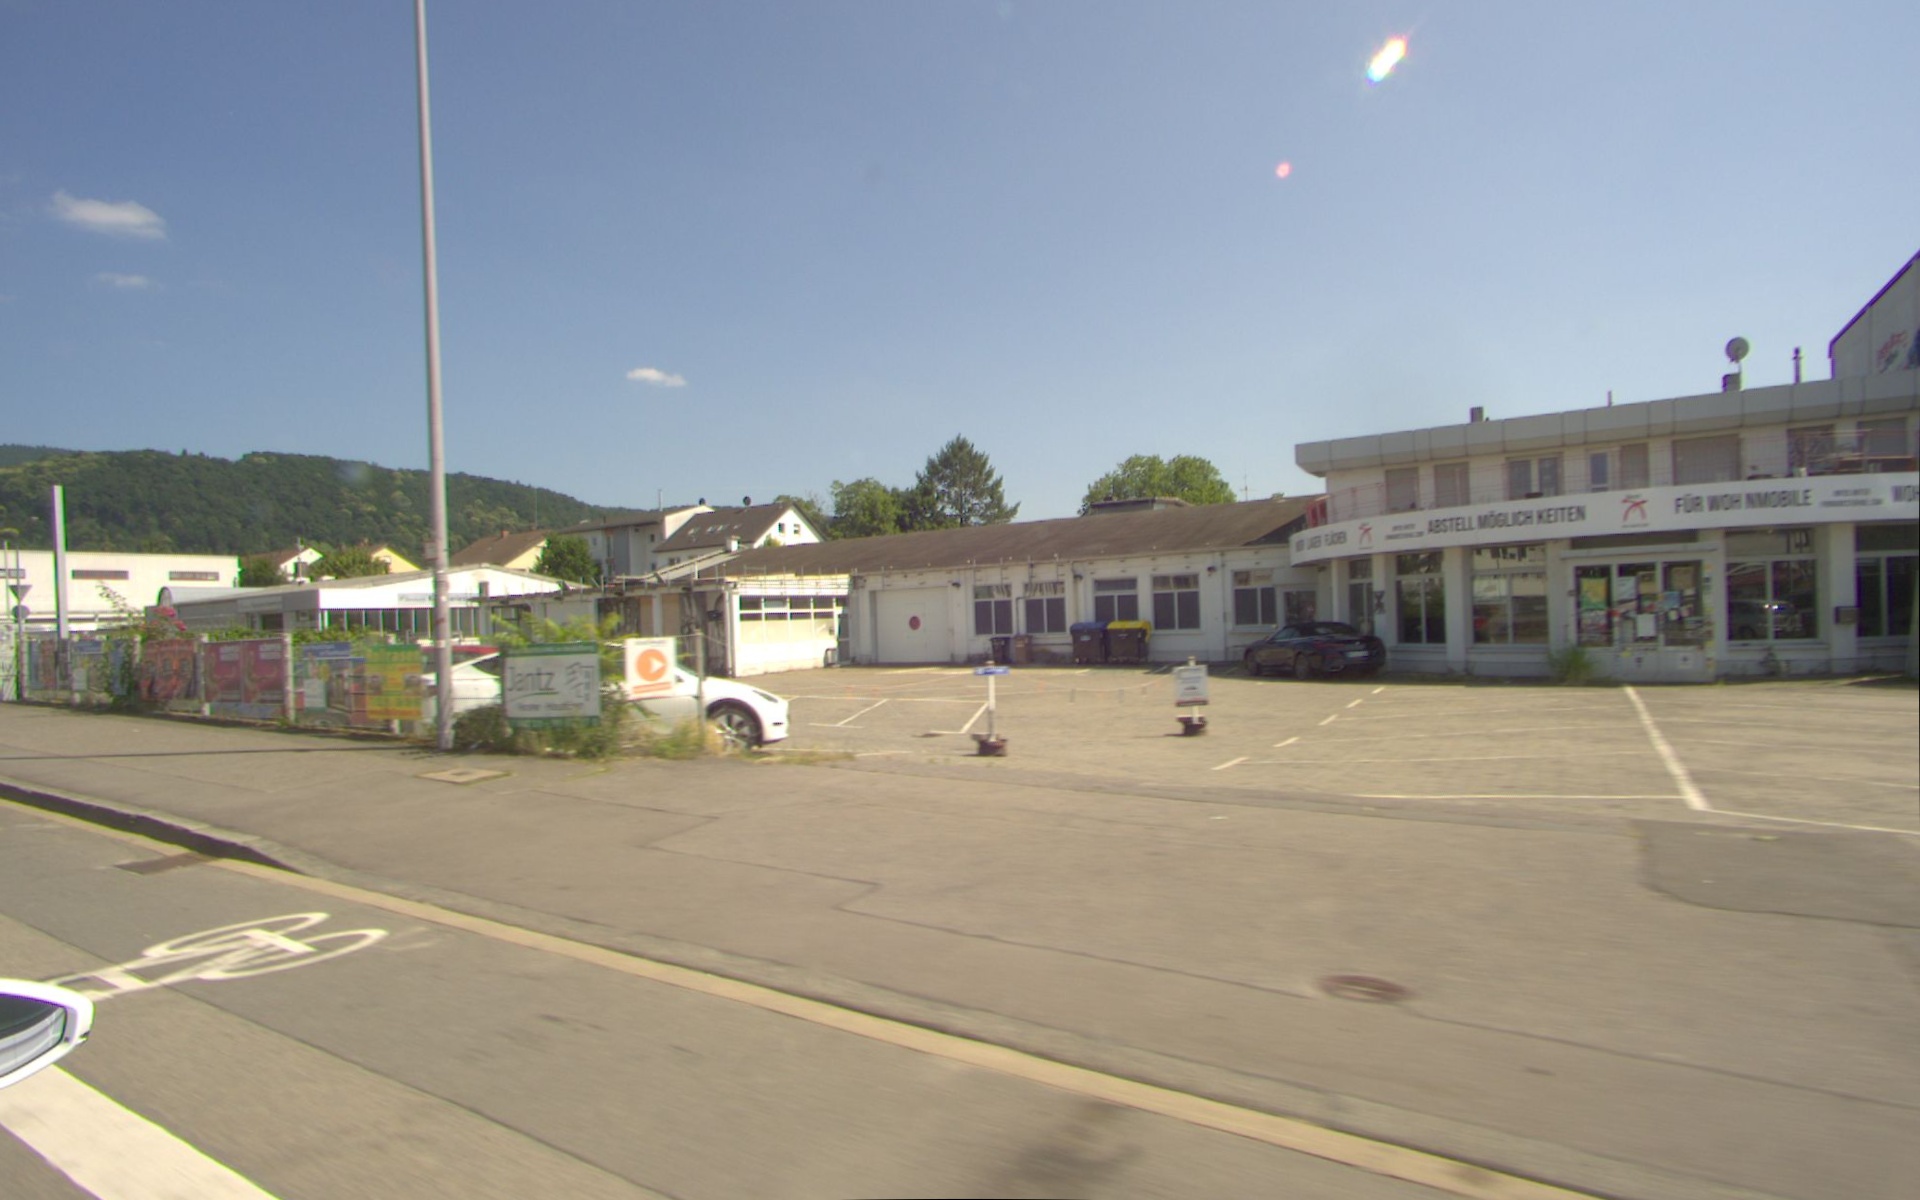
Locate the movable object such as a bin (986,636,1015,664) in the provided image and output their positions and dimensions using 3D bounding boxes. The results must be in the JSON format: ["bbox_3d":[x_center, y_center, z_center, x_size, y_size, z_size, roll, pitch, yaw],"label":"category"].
[{"bbox_3d":[1.505,1.852,37.233,0.863,1.005,0.745,-1,-1,28],"label":"movable object such as a bin"}]

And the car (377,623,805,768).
[{"bbox_3d":[-4.685,1.239,13.358,4.956,1.639,2.024,0,-6,-15],"label":"car"}]

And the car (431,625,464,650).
[{"bbox_3d":[-31.916,2.380,62.295,1.768,1.482,3.809,1,-3,-28],"label":"car"}]

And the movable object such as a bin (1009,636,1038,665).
[{"bbox_3d":[2.330,1.846,36.710,0.863,1.049,0.745,-1,-1,28],"label":"movable object such as a bin"}]

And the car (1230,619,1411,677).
[{"bbox_3d":[8.727,1.192,24.722,1.861,1.306,4.550,0,-3,-16],"label":"car"}]

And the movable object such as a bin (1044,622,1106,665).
[{"bbox_3d":[4.043,1.510,35.070,1.728,1.474,1.569,-1,-1,28],"label":"movable object such as a bin"}]

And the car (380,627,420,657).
[{"bbox_3d":[-33.246,2.458,59.567,1.971,1.668,3.981,1,-1,-28],"label":"car"}]

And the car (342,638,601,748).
[{"bbox_3d":[-8.156,1.502,17.106,3.765,1.637,1.888,0,-1,-21],"label":"car"}]

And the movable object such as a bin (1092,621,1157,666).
[{"bbox_3d":[5.636,1.464,34.194,1.797,1.474,1.569,-1,-1,28],"label":"movable object such as a bin"}]
